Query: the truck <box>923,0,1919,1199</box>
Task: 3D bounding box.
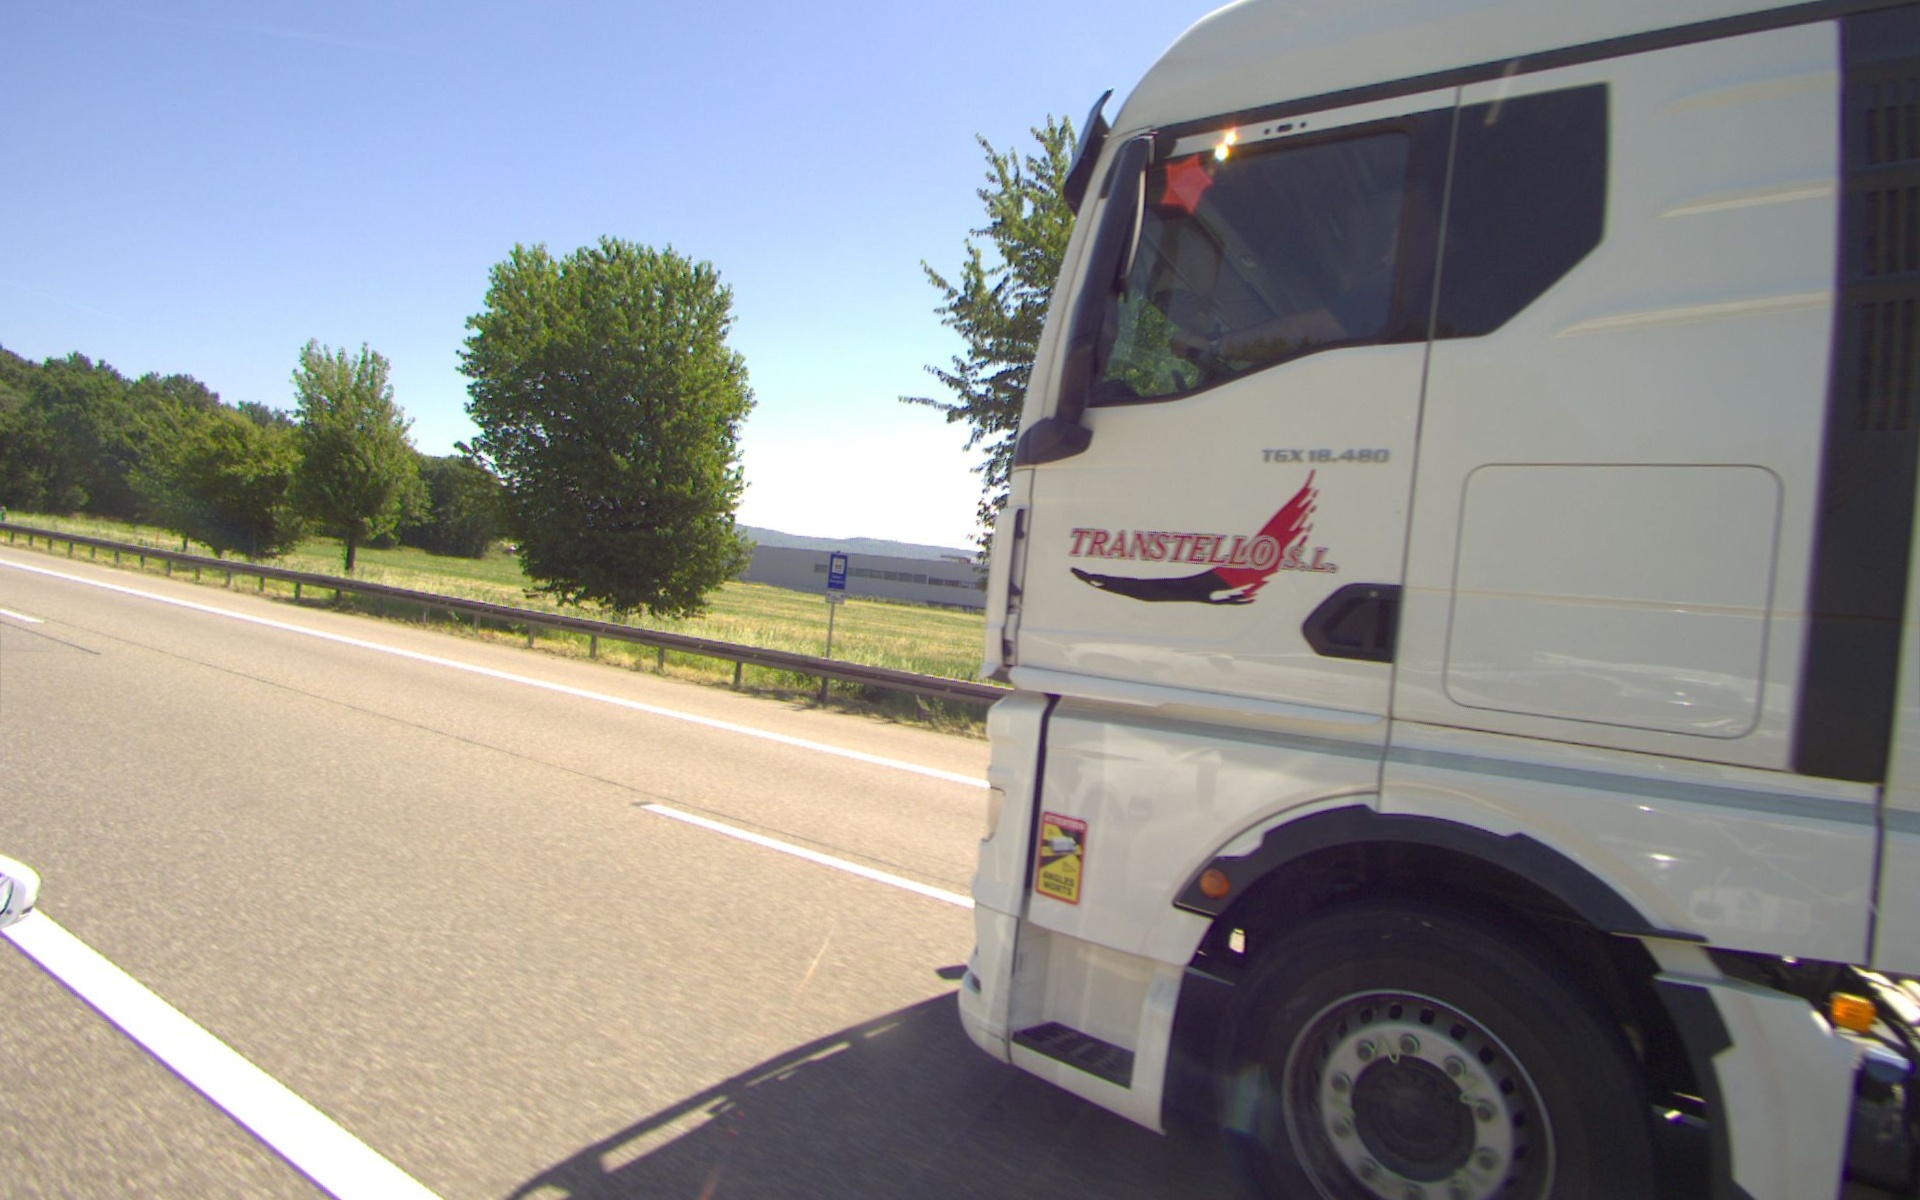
[{"bbox_3d":[2.921,-0.274,2.817,4.919,4.256,2.793,7,0,33],"label":"truck"}]
